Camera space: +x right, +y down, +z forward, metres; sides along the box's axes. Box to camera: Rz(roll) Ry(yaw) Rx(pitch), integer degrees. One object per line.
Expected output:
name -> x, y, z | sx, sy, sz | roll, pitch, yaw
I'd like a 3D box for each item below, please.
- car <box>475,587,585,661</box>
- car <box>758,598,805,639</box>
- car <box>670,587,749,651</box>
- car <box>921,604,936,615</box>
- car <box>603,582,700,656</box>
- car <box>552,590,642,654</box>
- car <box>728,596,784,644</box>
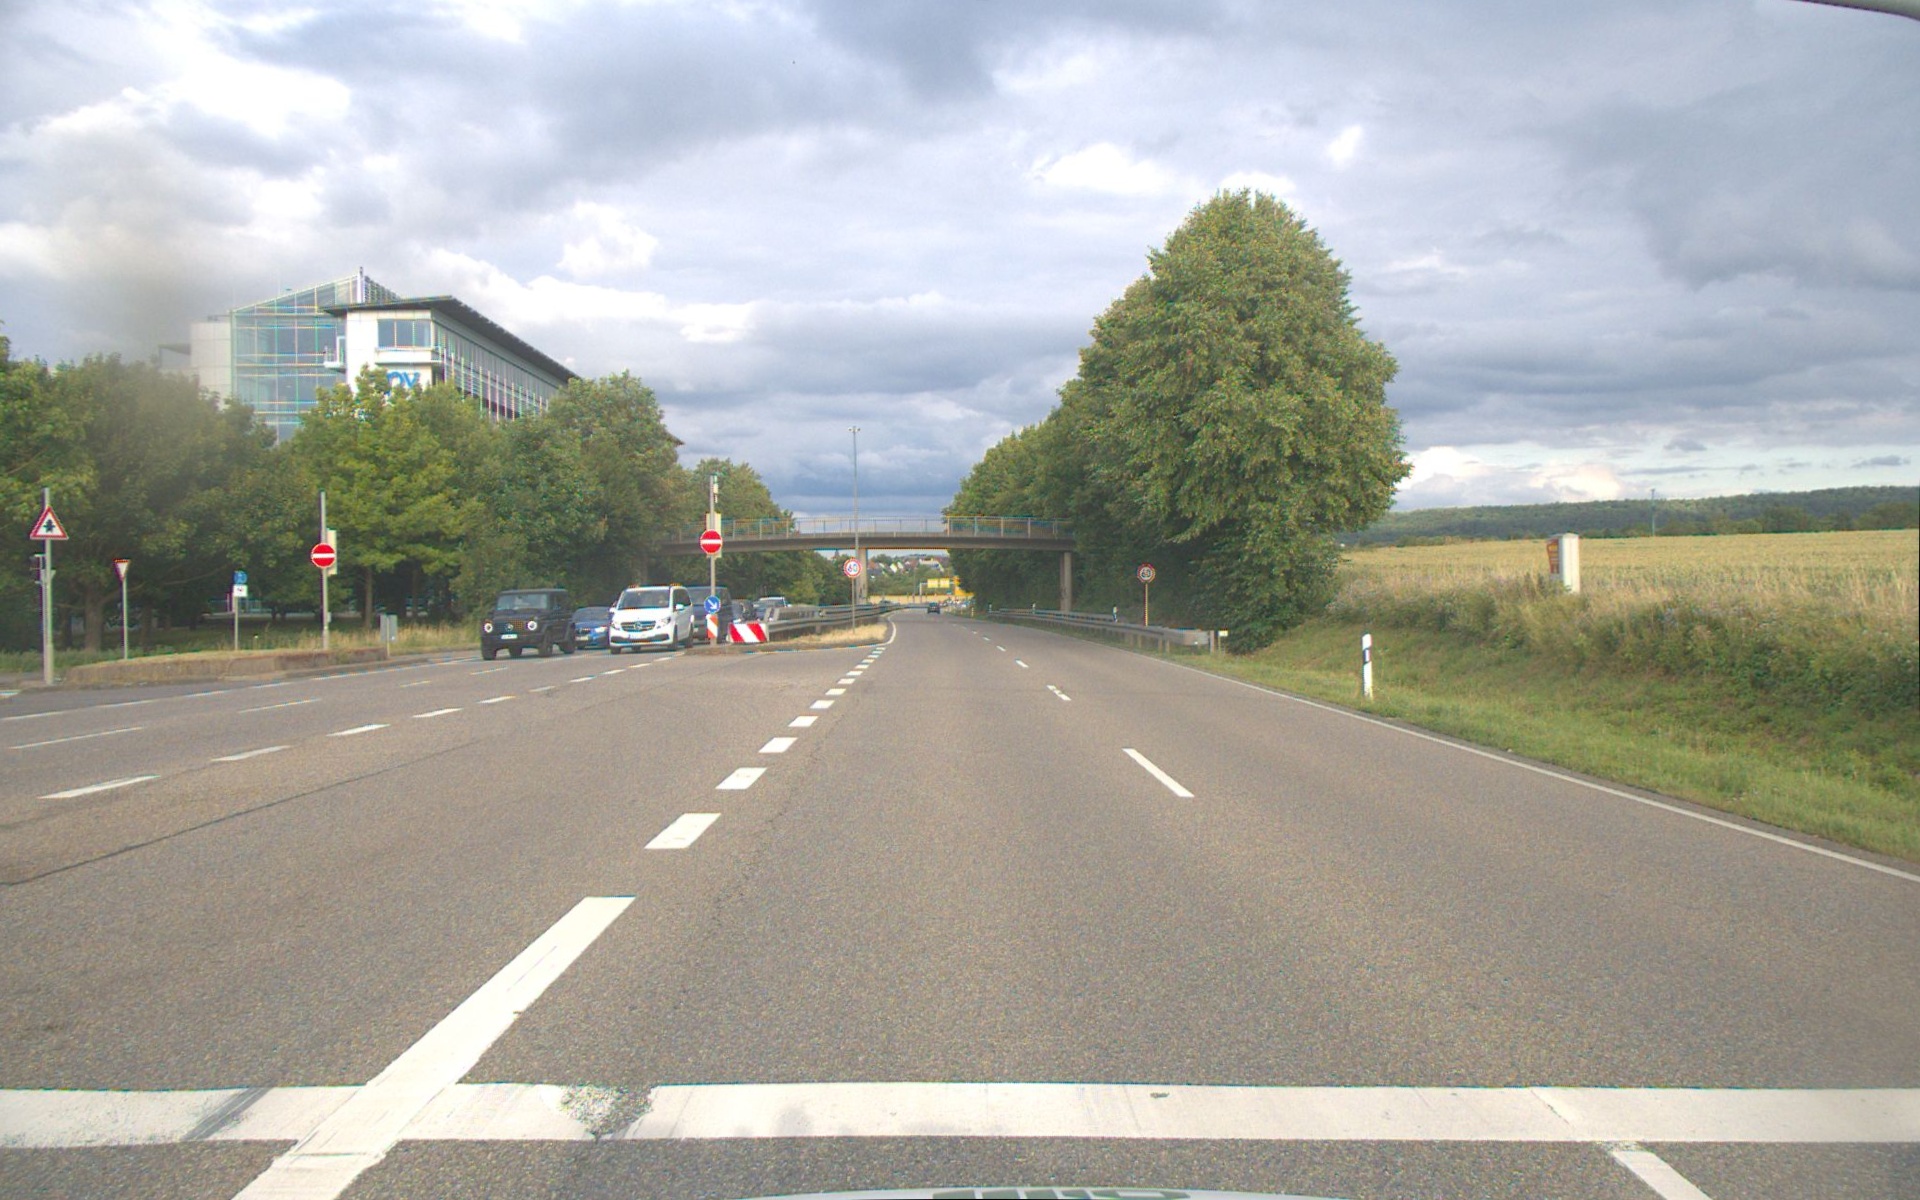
car -> -12.667, 0.681, 49.053 | 2.041, 2.049, 5.214 | 1, 0, -2
car -> -9.329, 0.946, 86.806 | 2.041, 2.049, 5.214 | 1, 0, -2
car -> -8.567, 0.637, 56.963 | 2.041, 2.049, 5.214 | 1, 0, -2
car -> -4.551, 1.359, 237.254 | 1.843, 1.579, 3.996 | 1, 0, -5
car -> -9.107, 0.542, 49.219 | 2.041, 2.049, 5.214 | 1, 0, -2
car -> -12.332, 0.727, 56.558 | 2.041, 2.049, 5.214 | 1, 0, -2
car -> -9.255, 0.889, 75.495 | 2.041, 2.049, 5.214 | 1, 0, -2
